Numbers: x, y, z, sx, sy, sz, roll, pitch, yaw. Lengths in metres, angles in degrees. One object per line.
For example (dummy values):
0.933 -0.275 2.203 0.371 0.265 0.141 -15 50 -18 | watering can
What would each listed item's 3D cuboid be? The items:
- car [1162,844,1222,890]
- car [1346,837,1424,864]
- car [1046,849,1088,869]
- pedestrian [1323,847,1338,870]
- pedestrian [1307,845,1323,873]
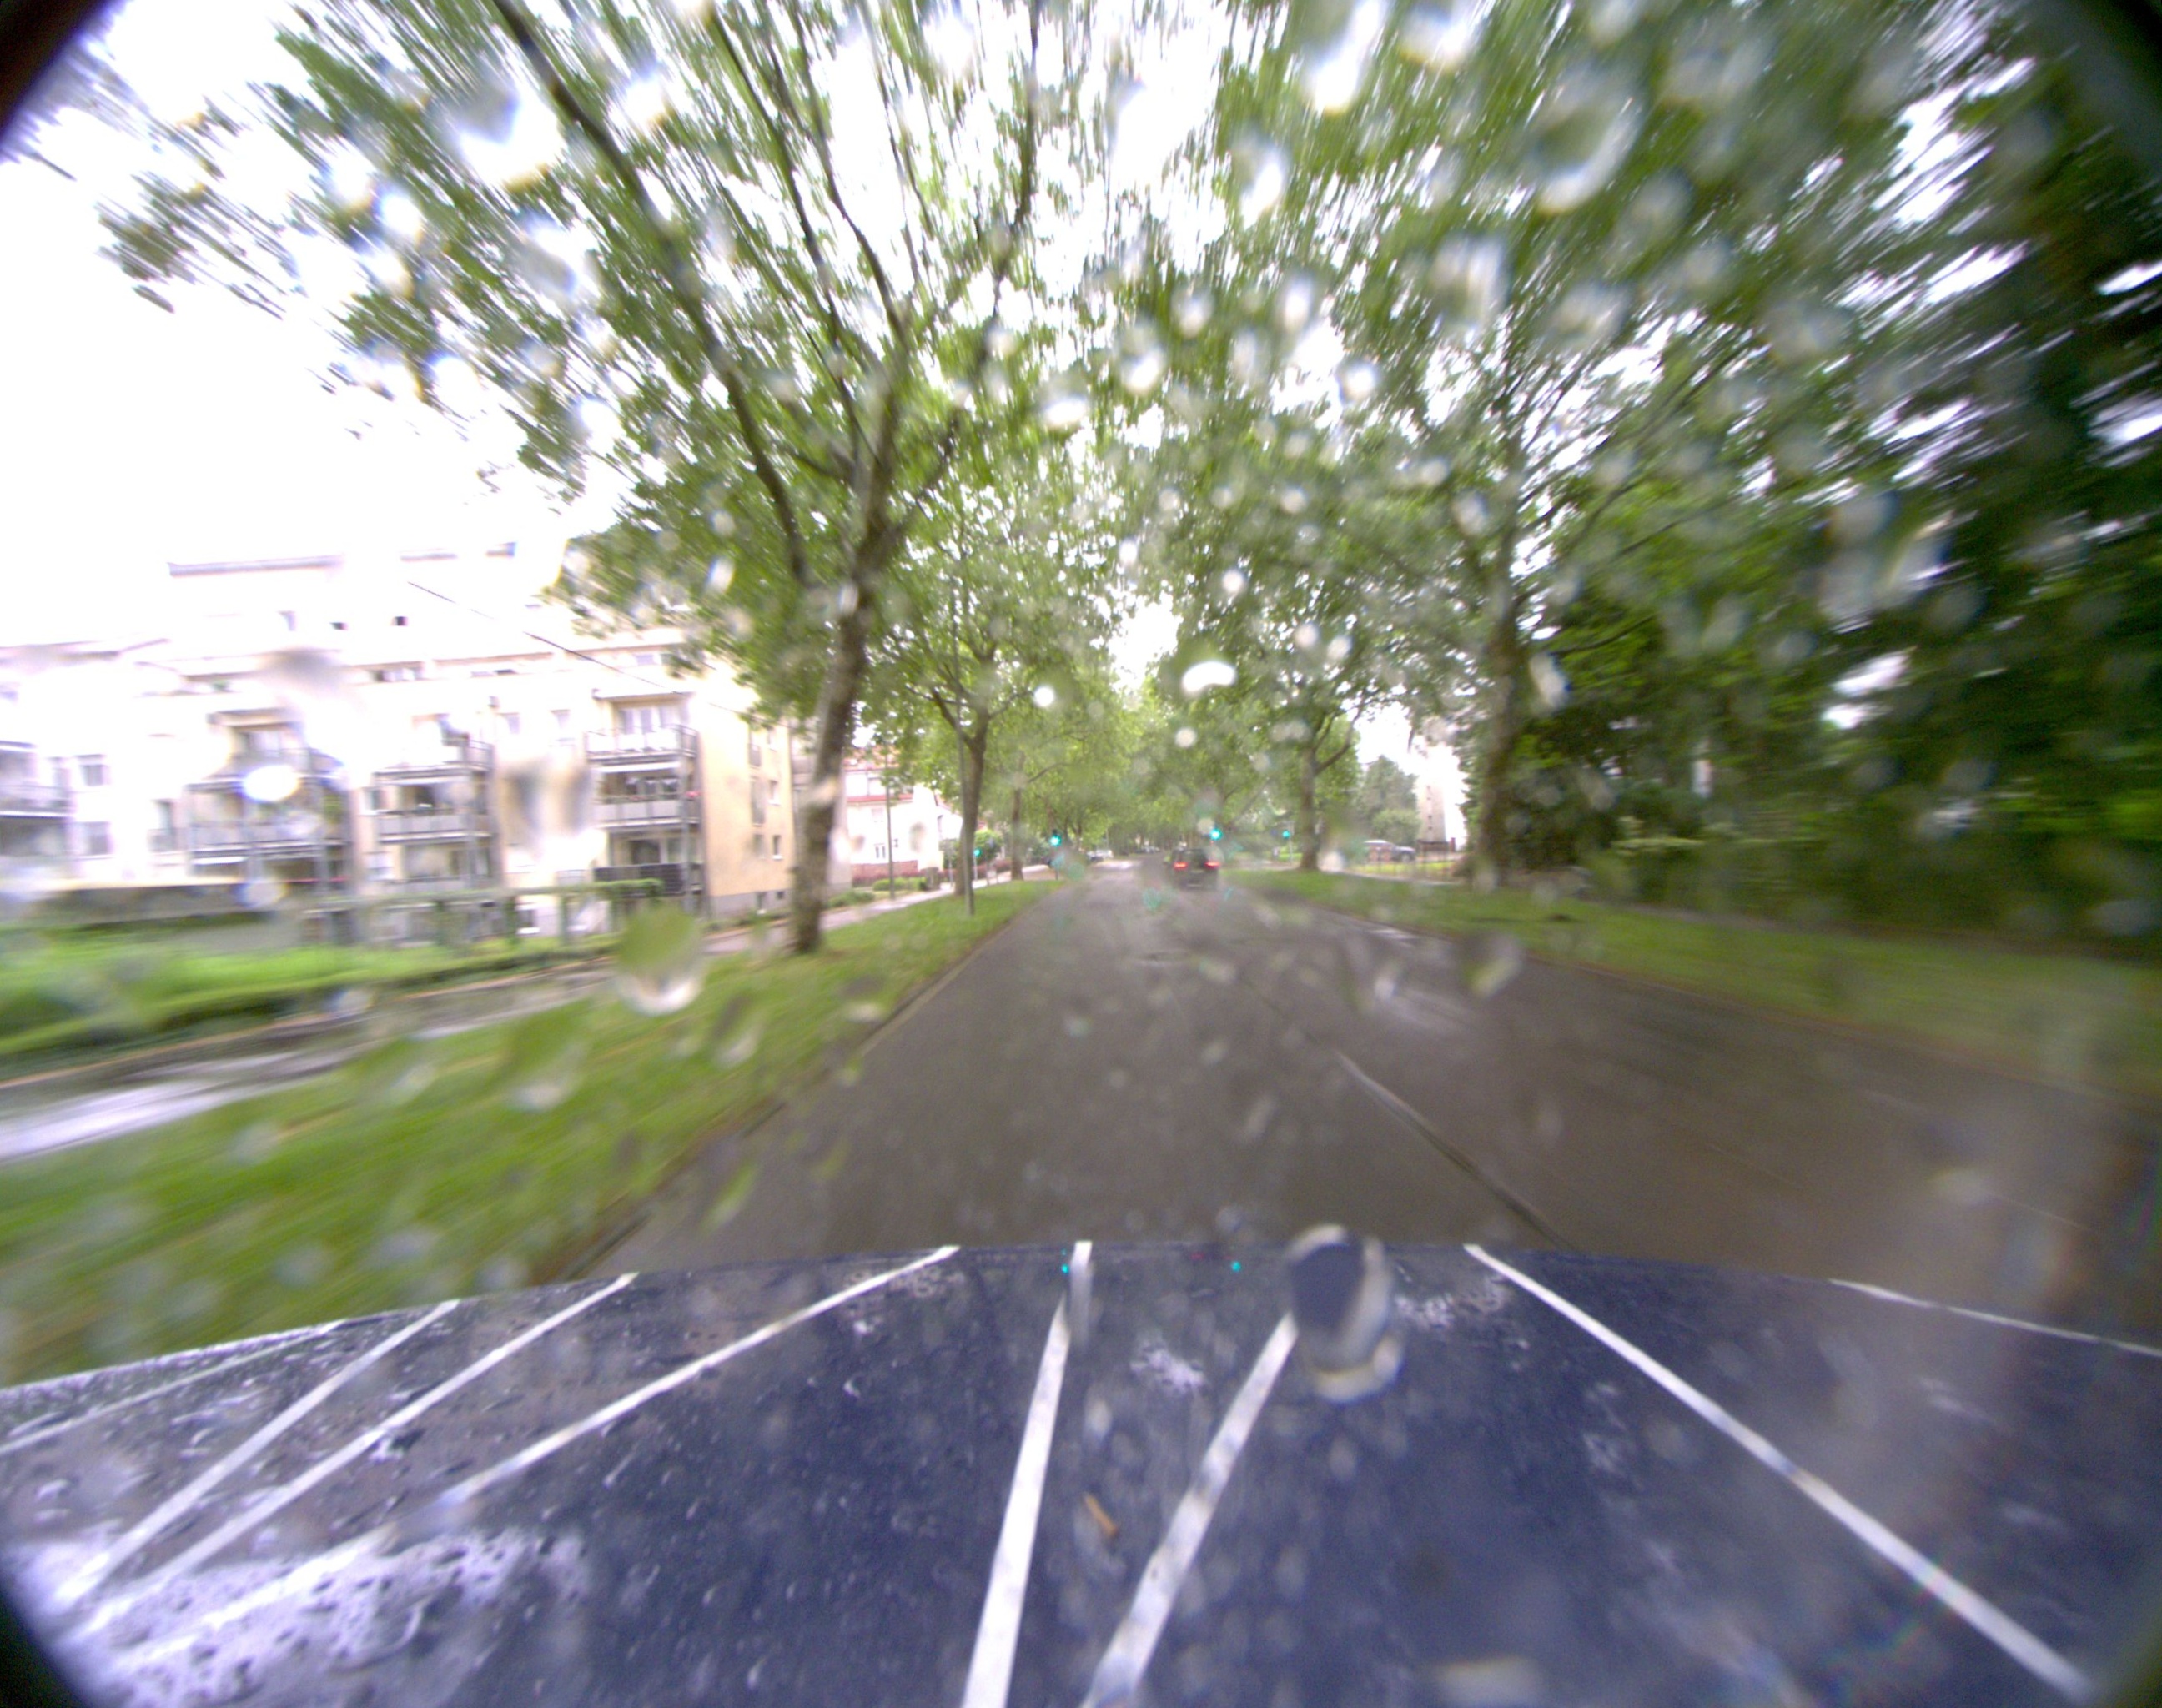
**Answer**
4.382 0.454 30.614 1.822 1.645 4.774 -3 1 3 | car
21.315 -0.258 53.472 4.714 1.678 2.001 -3 1 10 | car
-1.487 0.504 80.211 4.262 1.846 1.892 -3 1 0 | car
13.715 0.248 41.736 0.517 1.254 0.849 -3 1 3 | pedestrian
12.838 0.264 41.701 0.599 1.445 0.857 -3 1 3 | pedestrian
